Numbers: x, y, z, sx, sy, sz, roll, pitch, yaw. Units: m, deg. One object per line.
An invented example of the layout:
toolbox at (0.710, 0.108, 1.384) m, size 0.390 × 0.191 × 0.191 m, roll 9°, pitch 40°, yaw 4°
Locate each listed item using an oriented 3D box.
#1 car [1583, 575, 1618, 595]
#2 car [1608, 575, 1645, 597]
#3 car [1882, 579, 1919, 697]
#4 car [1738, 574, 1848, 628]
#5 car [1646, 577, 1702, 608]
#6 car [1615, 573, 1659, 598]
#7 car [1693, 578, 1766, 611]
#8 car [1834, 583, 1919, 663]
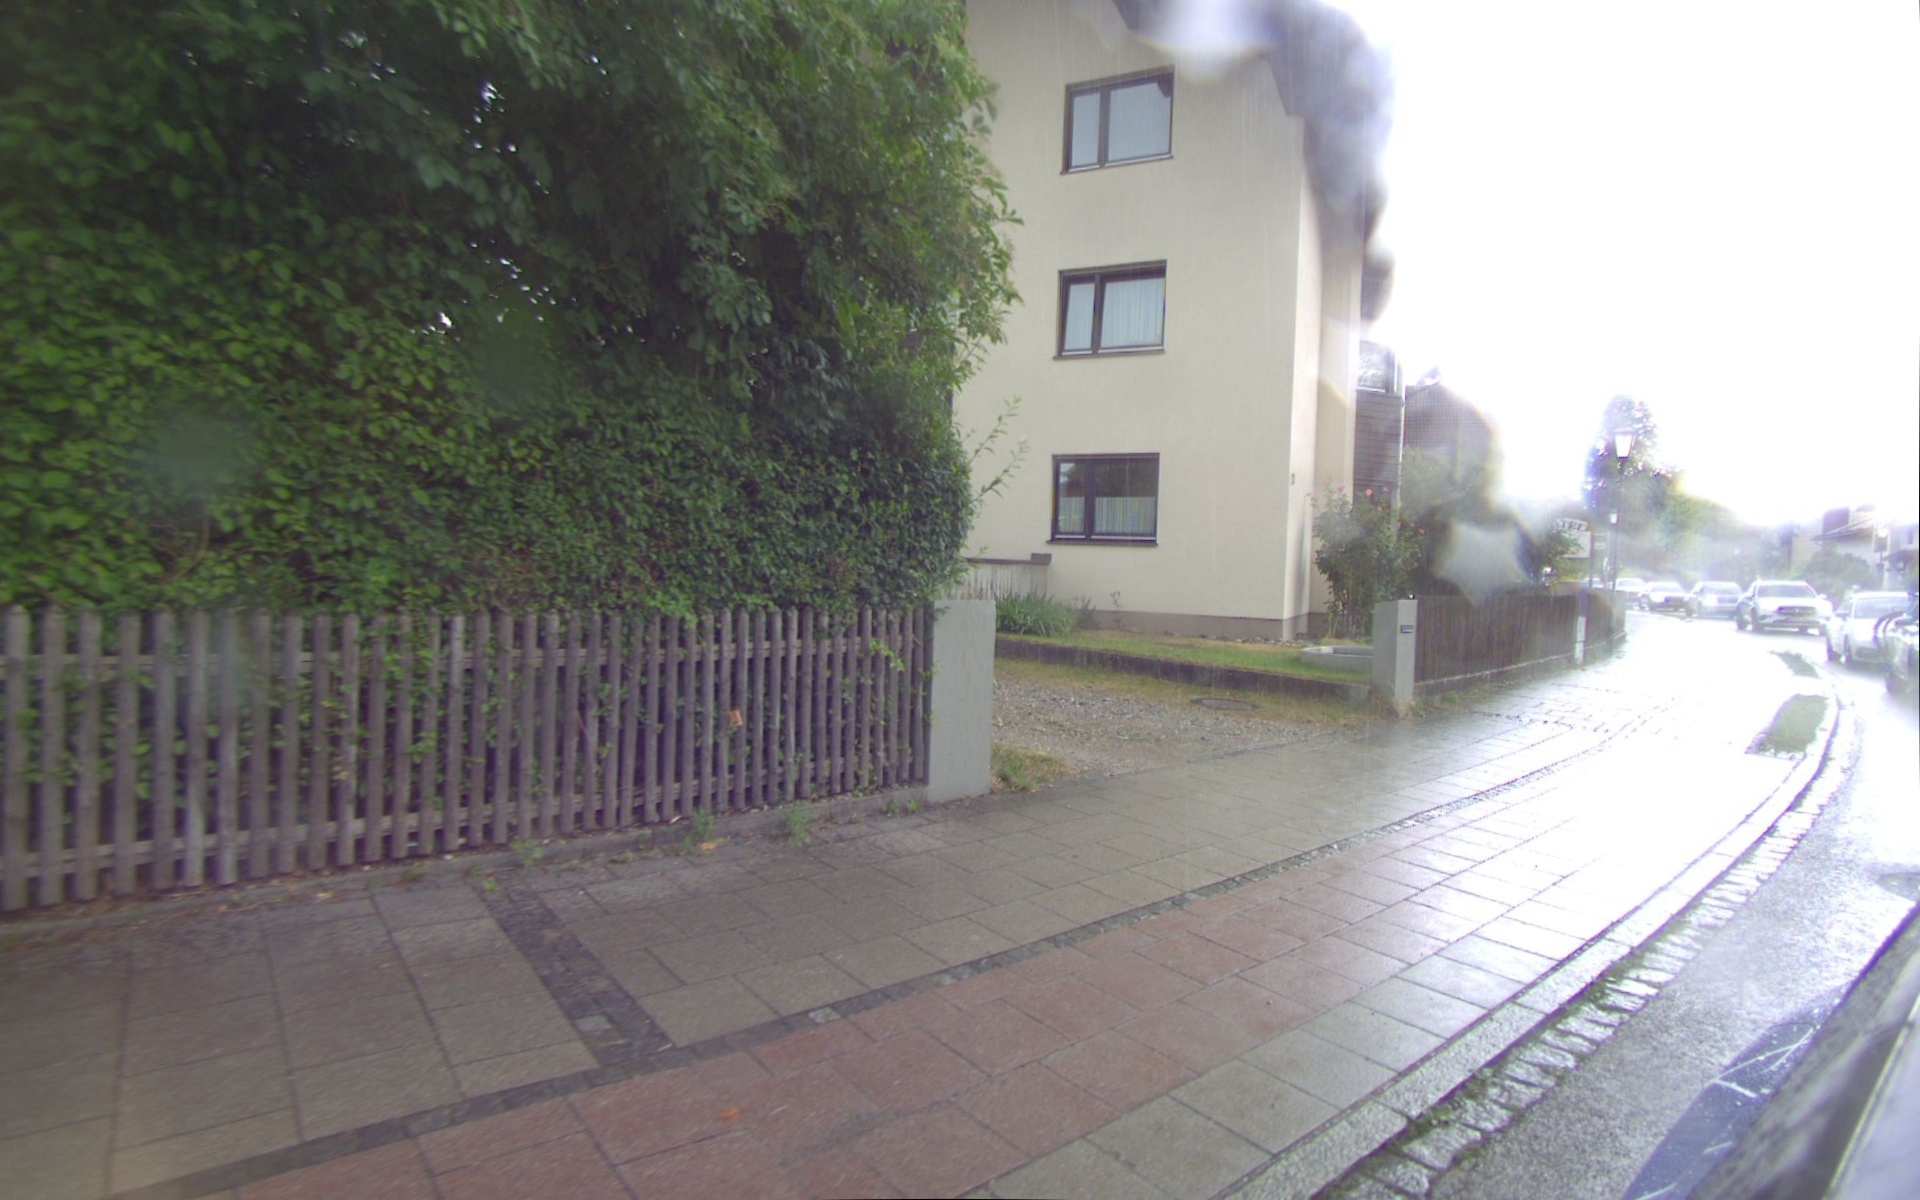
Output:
car at (53.193, -1.252, 84.102) m, size 1.775 × 1.568 × 4.247 m, roll 0°, pitch 1°, yaw 23°
car at (48.016, -0.997, 72.971) m, size 1.778 × 1.568 × 4.241 m, roll 0°, pitch 1°, yaw 27°
car at (14.133, 0.466, 13.892) m, size 1.786 × 1.498 × 5.311 m, roll 0°, pitch 1°, yaw 38°
car at (26.236, -0.003, 32.018) m, size 1.778 × 1.568 × 4.241 m, roll 0°, pitch 1°, yaw 27°
car at (37.704, -0.426, 53.525) m, size 1.778 × 1.568 × 4.241 m, roll 0°, pitch 1°, yaw 27°
car at (42.961, -0.923, 64.307) m, size 1.778 × 1.568 × 4.241 m, roll 0°, pitch 1°, yaw 27°
car at (33.385, -0.250, 44.008) m, size 1.778 × 1.391 × 4.241 m, roll 0°, pitch 1°, yaw 27°
car at (18.191, 0.387, 19.539) m, size 1.786 × 1.412 × 4.222 m, roll 0°, pitch 1°, yaw 38°
